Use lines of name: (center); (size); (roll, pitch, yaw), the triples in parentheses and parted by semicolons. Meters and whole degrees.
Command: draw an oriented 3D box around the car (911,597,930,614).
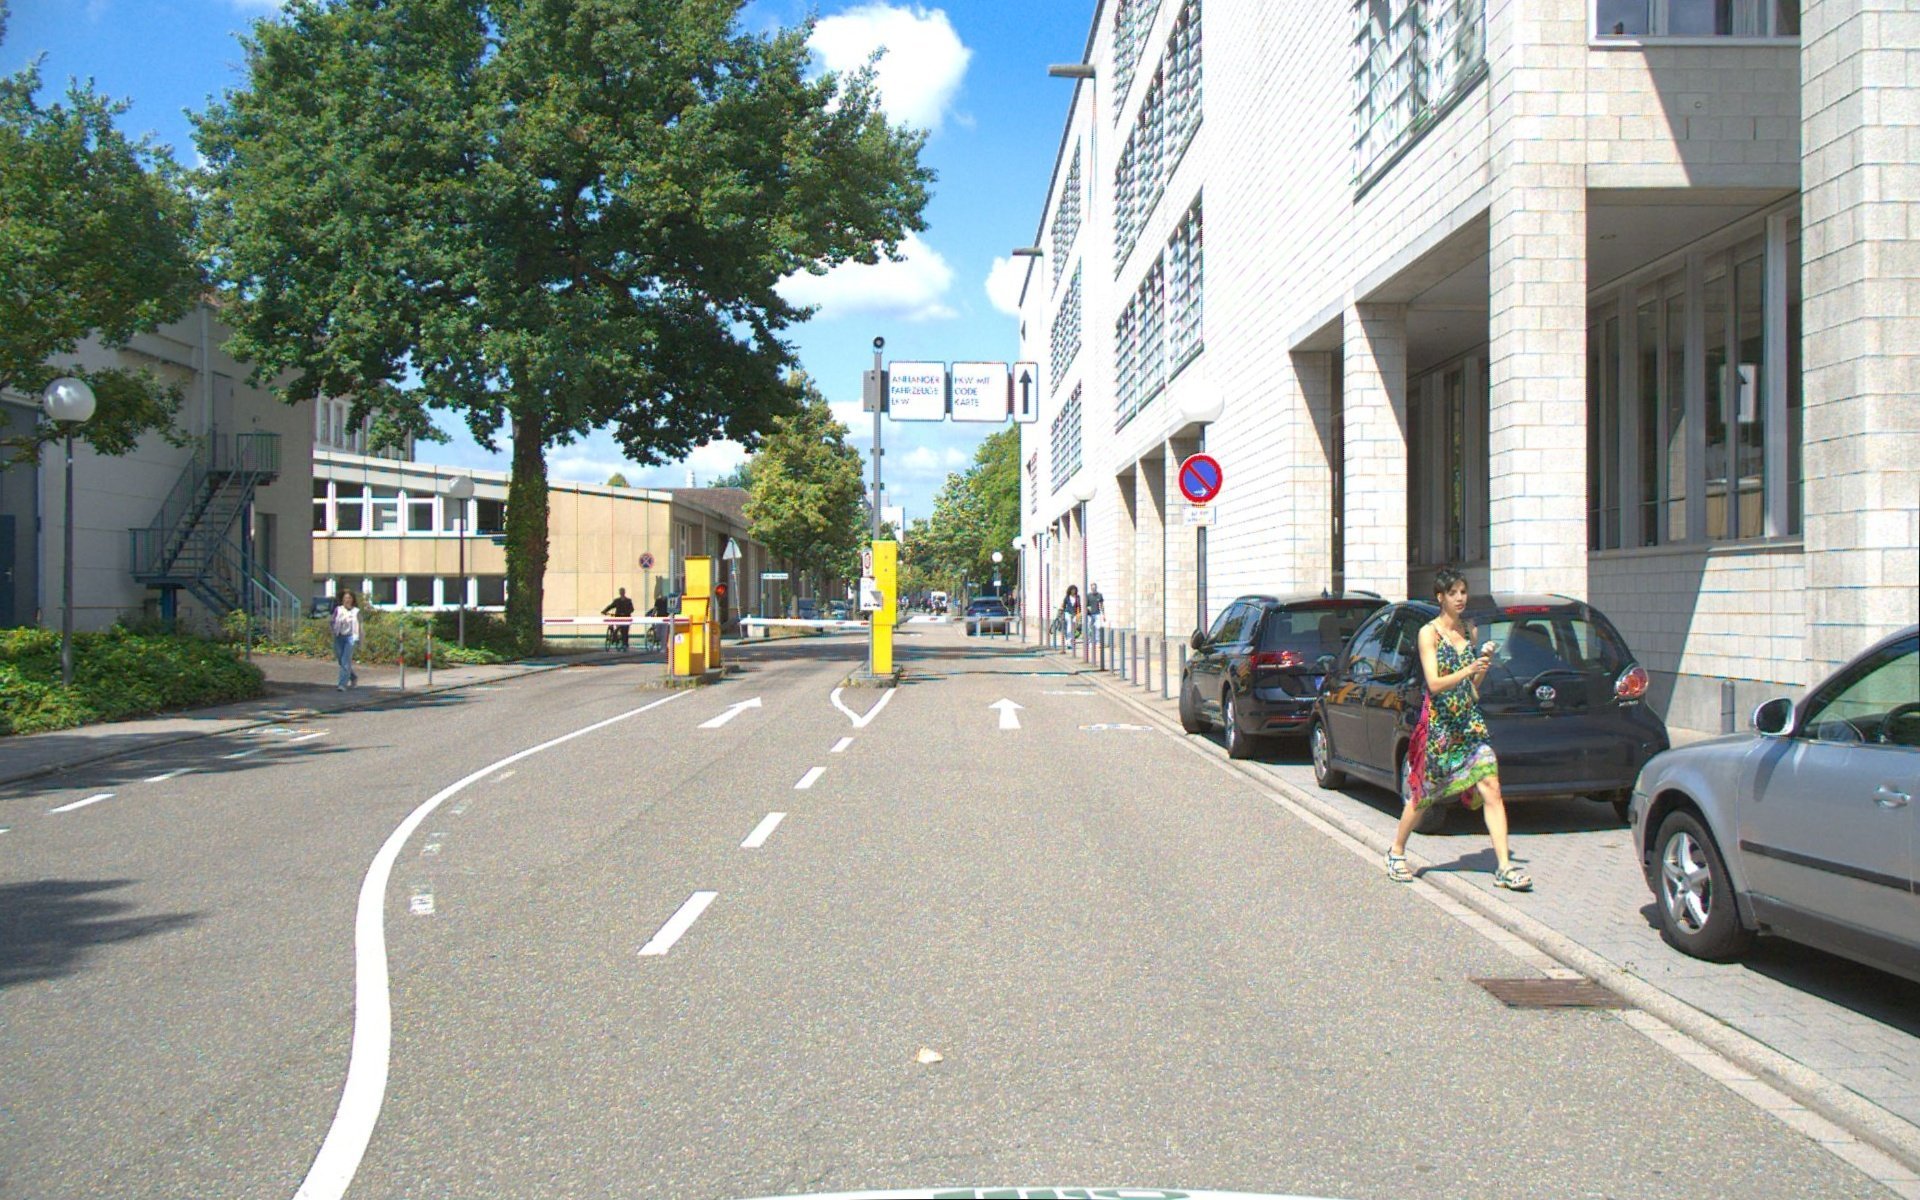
car: (-4.406, 0.615, 185.221); (1.952, 1.751, 4.000); (-1, -2, 2)

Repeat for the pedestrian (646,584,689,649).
pedestrian: (-8.979, 0.501, 50.739); (0.868, 1.959, 1.004); (-1, -1, 30)

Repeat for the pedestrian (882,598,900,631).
pedestrian: (-3.484, 0.749, 83.369); (0.876, 1.661, 0.887); (0, -1, -4)

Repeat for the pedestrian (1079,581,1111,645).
pedestrian: (3.889, 0.363, 47.770); (0.751, 1.811, 0.910); (-2, 0, -3)

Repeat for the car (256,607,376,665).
car: (-18.002, 0.973, 46.457); (1.792, 1.492, 4.297); (0, 0, -2)

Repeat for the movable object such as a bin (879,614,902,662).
movable object such as a bin: (-1.343, 0.733, 31.807); (0.407, 0.921, 0.353); (0, 0, 3)

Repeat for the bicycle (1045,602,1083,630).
bicycle: (4.282, 0.659, 67.835); (1.511, 1.085, 0.648); (-1, 0, 7)

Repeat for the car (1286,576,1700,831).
car: (3.613, 0.623, 11.978); (1.582, 1.523, 4.004); (0, 0, -2)

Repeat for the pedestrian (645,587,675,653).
pedestrian: (-8.559, 0.557, 47.258); (0.691, 1.841, 1.001); (-1, 0, -2)

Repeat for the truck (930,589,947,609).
truck: (-2.711, -0.063, 205.999); (1.953, 2.311, 4.613); (-1, -2, -2)

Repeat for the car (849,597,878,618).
car: (-7.437, 0.583, 127.682); (1.953, 1.573, 4.211); (0, 0, 0)

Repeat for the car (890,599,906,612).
car: (-8.678, 0.809, 232.521); (1.952, 1.751, 4.000); (-1, -2, 2)

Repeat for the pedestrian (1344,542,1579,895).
pedestrian: (2.649, 0.587, 8.801); (0.617, 1.747, 1.028); (-1, 0, -33)

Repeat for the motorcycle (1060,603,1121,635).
motorcycle: (4.578, 0.668, 58.190); (2.079, 1.040, 0.660); (-3, -2, 0)

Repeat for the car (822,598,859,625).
car: (-7.210, 0.701, 99.882); (1.953, 1.573, 4.211); (0, 0, 0)

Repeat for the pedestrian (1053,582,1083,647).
pedestrian: (3.116, 0.403, 47.733); (0.681, 1.811, 1.085); (-2, 0, -2)

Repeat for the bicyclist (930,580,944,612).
bicyclist: (-1.615, -0.258, 115.919); (0.967, 2.169, 1.036); (-1, -2, -2)

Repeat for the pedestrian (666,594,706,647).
pedestrian: (-8.560, 0.642, 51.686); (0.868, 1.661, 0.895); (-1, -1, 30)

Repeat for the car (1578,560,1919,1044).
car: (3.906, 0.623, 5.522); (1.685, 1.556, 4.563); (-2, 0, -4)

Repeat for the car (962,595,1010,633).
car: (1.081, 0.584, 70.852); (1.953, 1.573, 4.211); (0, 0, 0)

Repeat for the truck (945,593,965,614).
truck: (-0.572, 0.365, 175.700); (1.953, 2.049, 3.997); (-1, -2, -2)

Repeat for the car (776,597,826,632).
car: (-7.457, 0.662, 77.926); (1.953, 1.573, 4.211); (0, 0, 0)

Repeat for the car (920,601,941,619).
car: (-3.112, 1.043, 175.555); (1.952, 1.751, 4.000); (-1, -2, 2)

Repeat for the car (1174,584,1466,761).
car: (3.365, 0.612, 16.375); (1.828, 1.490, 4.519); (0, 0, -1)

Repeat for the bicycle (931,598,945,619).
bicycle: (-1.543, 0.603, 115.778); (0.967, 1.339, 2.963); (-1, -2, -1)

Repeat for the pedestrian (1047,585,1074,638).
pedestrian: (3.241, 0.356, 53.226); (0.726, 1.661, 0.887); (-2, 0, -2)

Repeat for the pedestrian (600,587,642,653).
pedestrian: (-9.686, 0.562, 47.329); (1.035, 1.847, 0.806); (-1, 0, -2)

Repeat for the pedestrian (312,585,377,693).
pedestrian: (-9.670, 0.603, 26.006); (0.699, 1.655, 0.883); (0, 0, -2)
